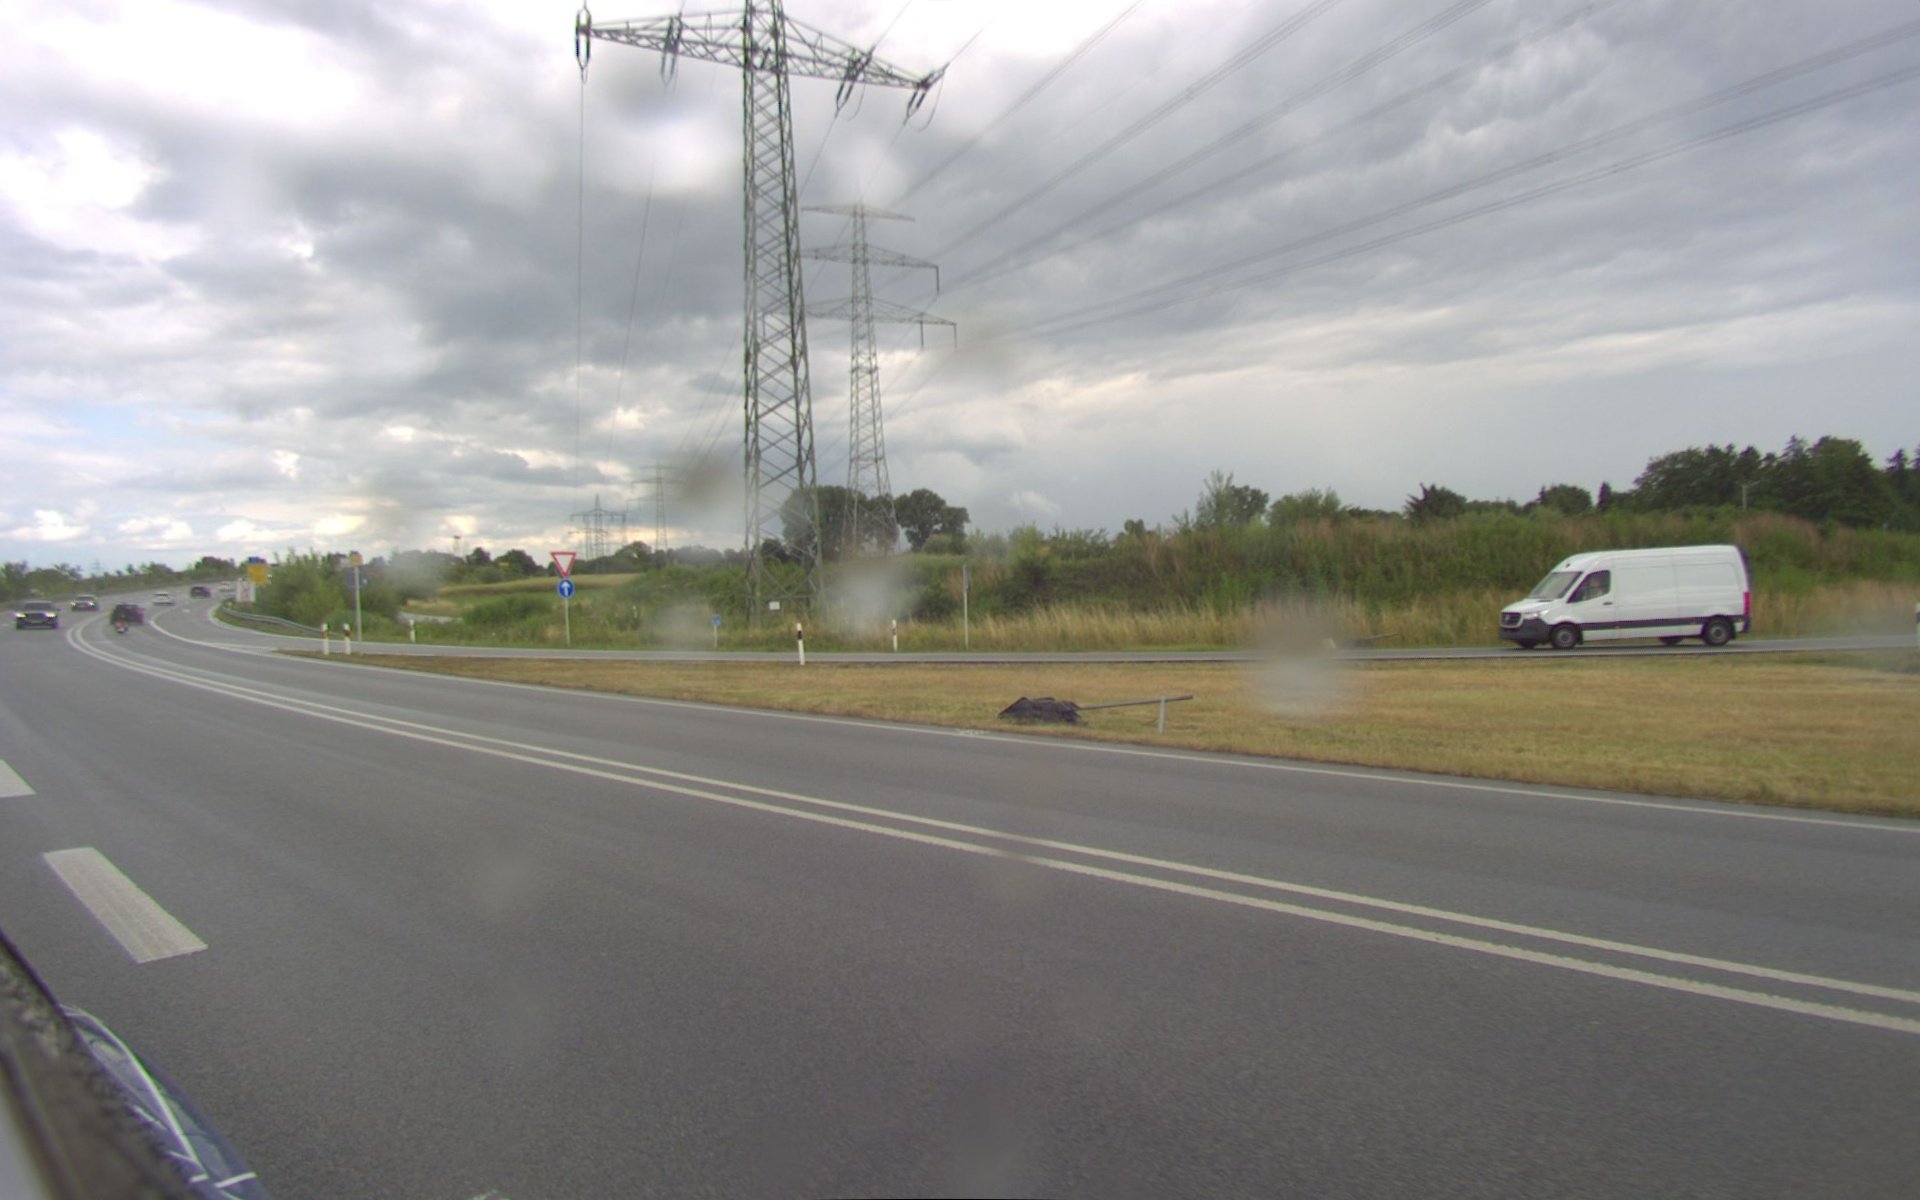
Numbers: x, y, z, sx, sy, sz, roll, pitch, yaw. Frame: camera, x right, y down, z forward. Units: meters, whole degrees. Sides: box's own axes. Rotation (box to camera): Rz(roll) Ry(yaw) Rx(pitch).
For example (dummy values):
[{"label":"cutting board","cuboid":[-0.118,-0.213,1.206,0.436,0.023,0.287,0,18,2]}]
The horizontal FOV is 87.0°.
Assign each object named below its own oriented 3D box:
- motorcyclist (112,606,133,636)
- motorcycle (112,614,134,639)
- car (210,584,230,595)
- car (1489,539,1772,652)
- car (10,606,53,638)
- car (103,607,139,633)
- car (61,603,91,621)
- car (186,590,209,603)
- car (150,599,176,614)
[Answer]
[{"label":"motorcyclist","cuboid":[-43.813,1.089,52.967,0.791,1.547,0.826,-1,0,-36]},{"label":"motorcycle","cuboid":[-43.773,1.358,52.924,0.791,1.247,2.190,-1,0,-37]},{"label":"car","cuboid":[-116.278,-1.679,159.012,1.656,1.468,4.089,2,1,-24]},{"label":"car","cuboid":[17.722,-0.119,27.003,5.939,2.770,2.213,-1,0,2]},{"label":"car","cuboid":[-55.428,1.306,60.478,1.770,1.782,4.006,-2,1,-41]},{"label":"car","cuboid":[-55.854,1.314,67.381,1.777,1.606,4.232,0,0,-40]},{"label":"car","cuboid":[-82.931,1.094,94.973,1.721,1.508,4.059,-2,3,-37]},{"label":"car","cuboid":[-101.982,-0.483,135.402,1.774,1.586,4.273,1,0,-28]},{"label":"car","cuboid":[-88.002,0.683,111.792,1.681,1.491,4.625,-1,1,-31]}]
